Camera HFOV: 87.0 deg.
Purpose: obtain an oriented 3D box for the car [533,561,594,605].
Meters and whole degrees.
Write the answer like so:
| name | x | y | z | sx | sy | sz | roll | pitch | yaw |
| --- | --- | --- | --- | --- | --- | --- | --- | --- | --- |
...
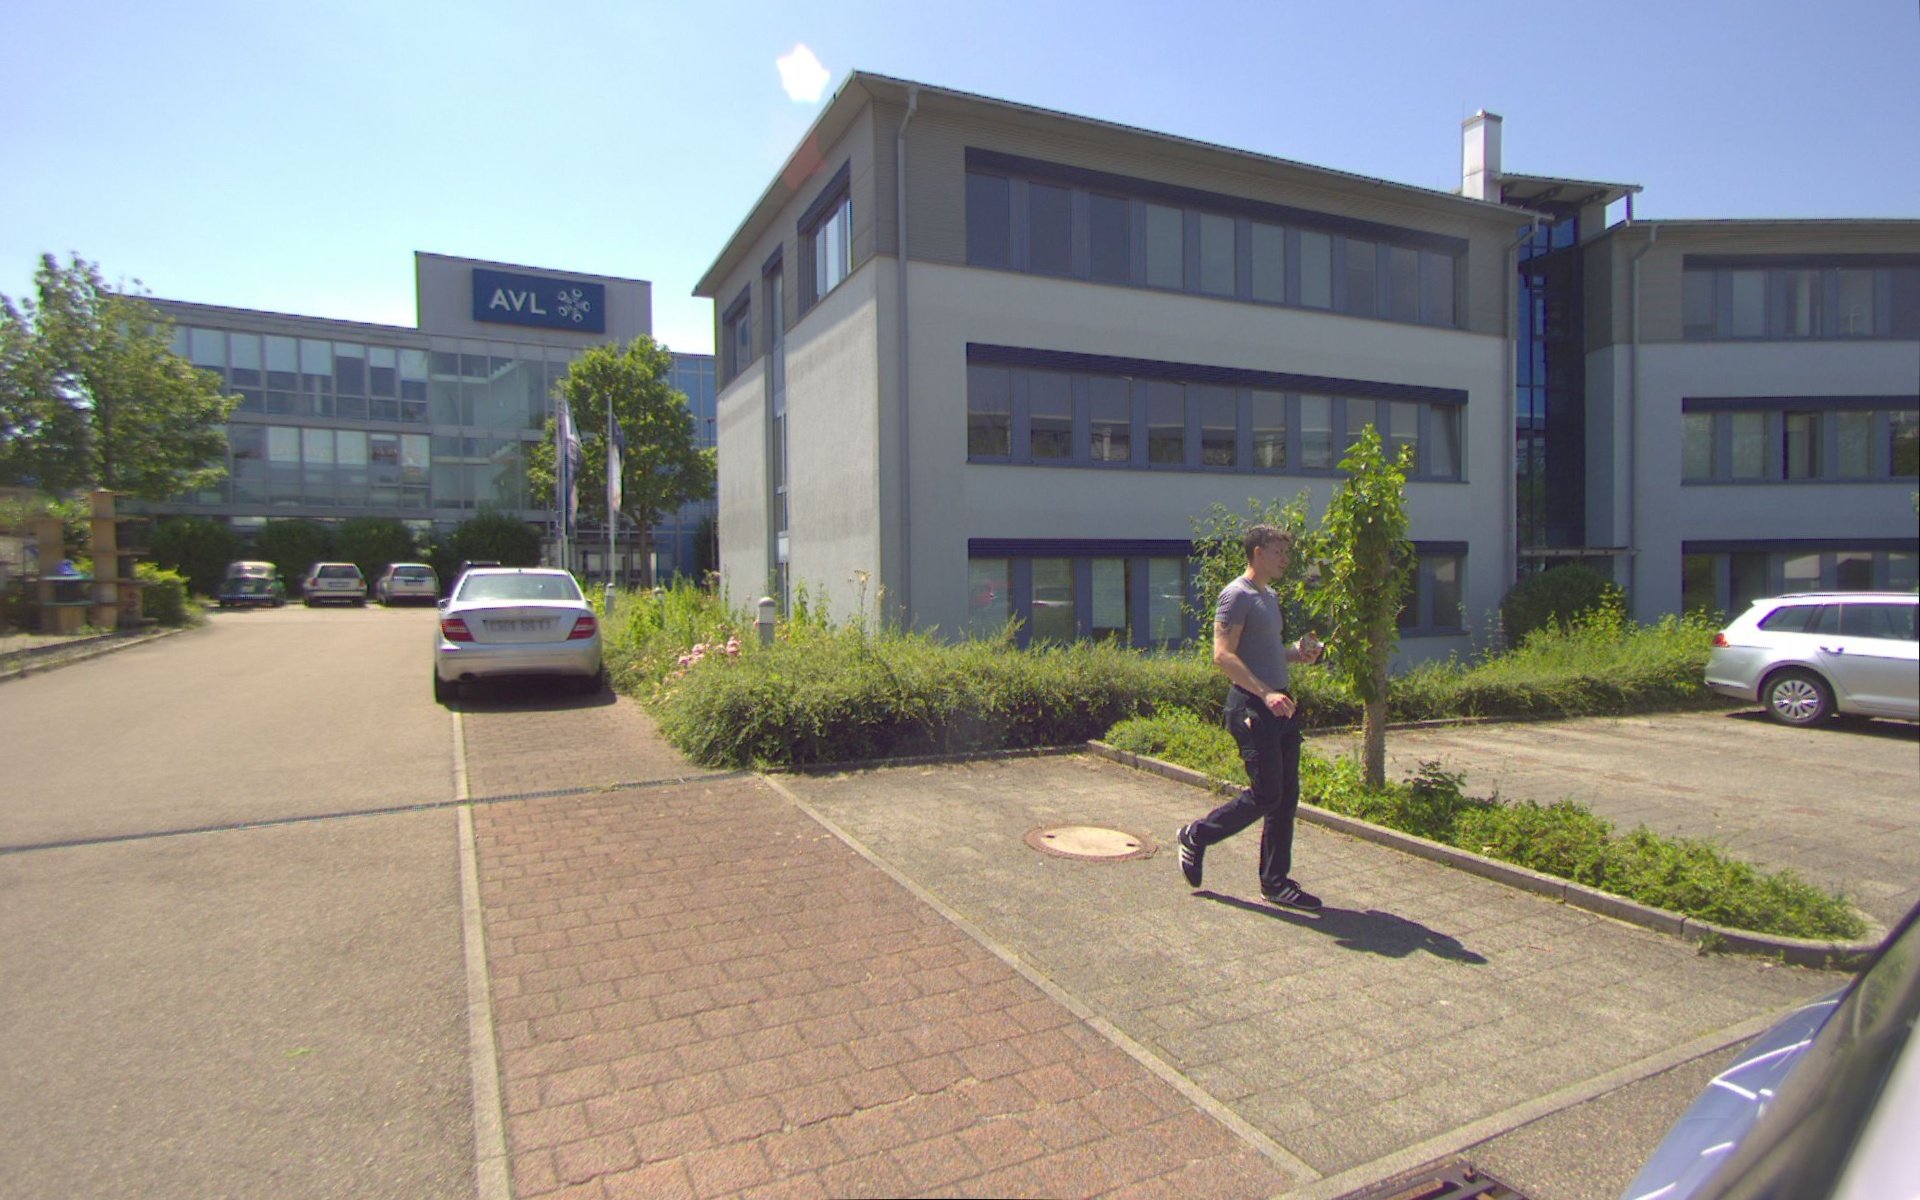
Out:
| name | x | y | z | sx | sy | sz | roll | pitch | yaw |
| --- | --- | --- | --- | --- | --- | --- | --- | --- | --- |
| car | -14.980 | -0.631 | 38.097 | 1.714 | 1.538 | 4.006 | 0 | 1 | -28 |

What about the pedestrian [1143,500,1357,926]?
| name | x | y | z | sx | sy | sz | roll | pitch | yaw |
| --- | --- | --- | --- | --- | --- | --- | --- | --- | --- |
| pedestrian | 1.349 | 0.466 | 4.714 | 0.784 | 1.779 | 0.610 | 0 | 0 | 40 |

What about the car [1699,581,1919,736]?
| name | x | y | z | sx | sy | sz | roll | pitch | yaw |
| --- | --- | --- | --- | --- | --- | --- | --- | --- | --- |
| car | 10.504 | 0.606 | 10.258 | 1.792 | 1.515 | 4.527 | 0 | 2 | -29 |

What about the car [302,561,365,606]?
| name | x | y | z | sx | sy | sz | roll | pitch | yaw |
| --- | --- | --- | --- | --- | --- | --- | --- | --- | --- |
| car | -21.454 | -0.568 | 34.584 | 1.642 | 1.458 | 4.000 | 0 | 1 | -35 |

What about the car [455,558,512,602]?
| name | x | y | z | sx | sy | sz | roll | pitch | yaw |
| --- | --- | --- | --- | --- | --- | --- | --- | --- | --- |
| car | -17.483 | -0.719 | 37.026 | 1.714 | 1.538 | 4.006 | 0 | 1 | -28 |

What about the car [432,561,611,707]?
| name | x | y | z | sx | sy | sz | roll | pitch | yaw |
| --- | --- | --- | --- | --- | --- | --- | --- | --- | --- |
| car | -5.334 | 0.308 | 12.129 | 1.694 | 1.454 | 3.722 | 0 | 1 | -27 |

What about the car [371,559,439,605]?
| name | x | y | z | sx | sy | sz | roll | pitch | yaw |
| --- | --- | --- | --- | --- | --- | --- | --- | --- | --- |
| car | -19.846 | -0.625 | 36.115 | 1.716 | 1.538 | 4.000 | 0 | 1 | -35 |

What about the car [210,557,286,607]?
| name | x | y | z | sx | sy | sz | roll | pitch | yaw |
| --- | --- | --- | --- | --- | --- | --- | --- | --- | --- |
| car | -23.418 | -0.595 | 33.406 | 1.715 | 1.538 | 4.004 | 0 | 1 | -30 |

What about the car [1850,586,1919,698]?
| name | x | y | z | sx | sy | sz | roll | pitch | yaw |
| --- | --- | --- | --- | --- | --- | --- | --- | --- | --- |
| car | 13.474 | 0.584 | 12.153 | 1.618 | 1.409 | 3.833 | 0 | 2 | -29 |
